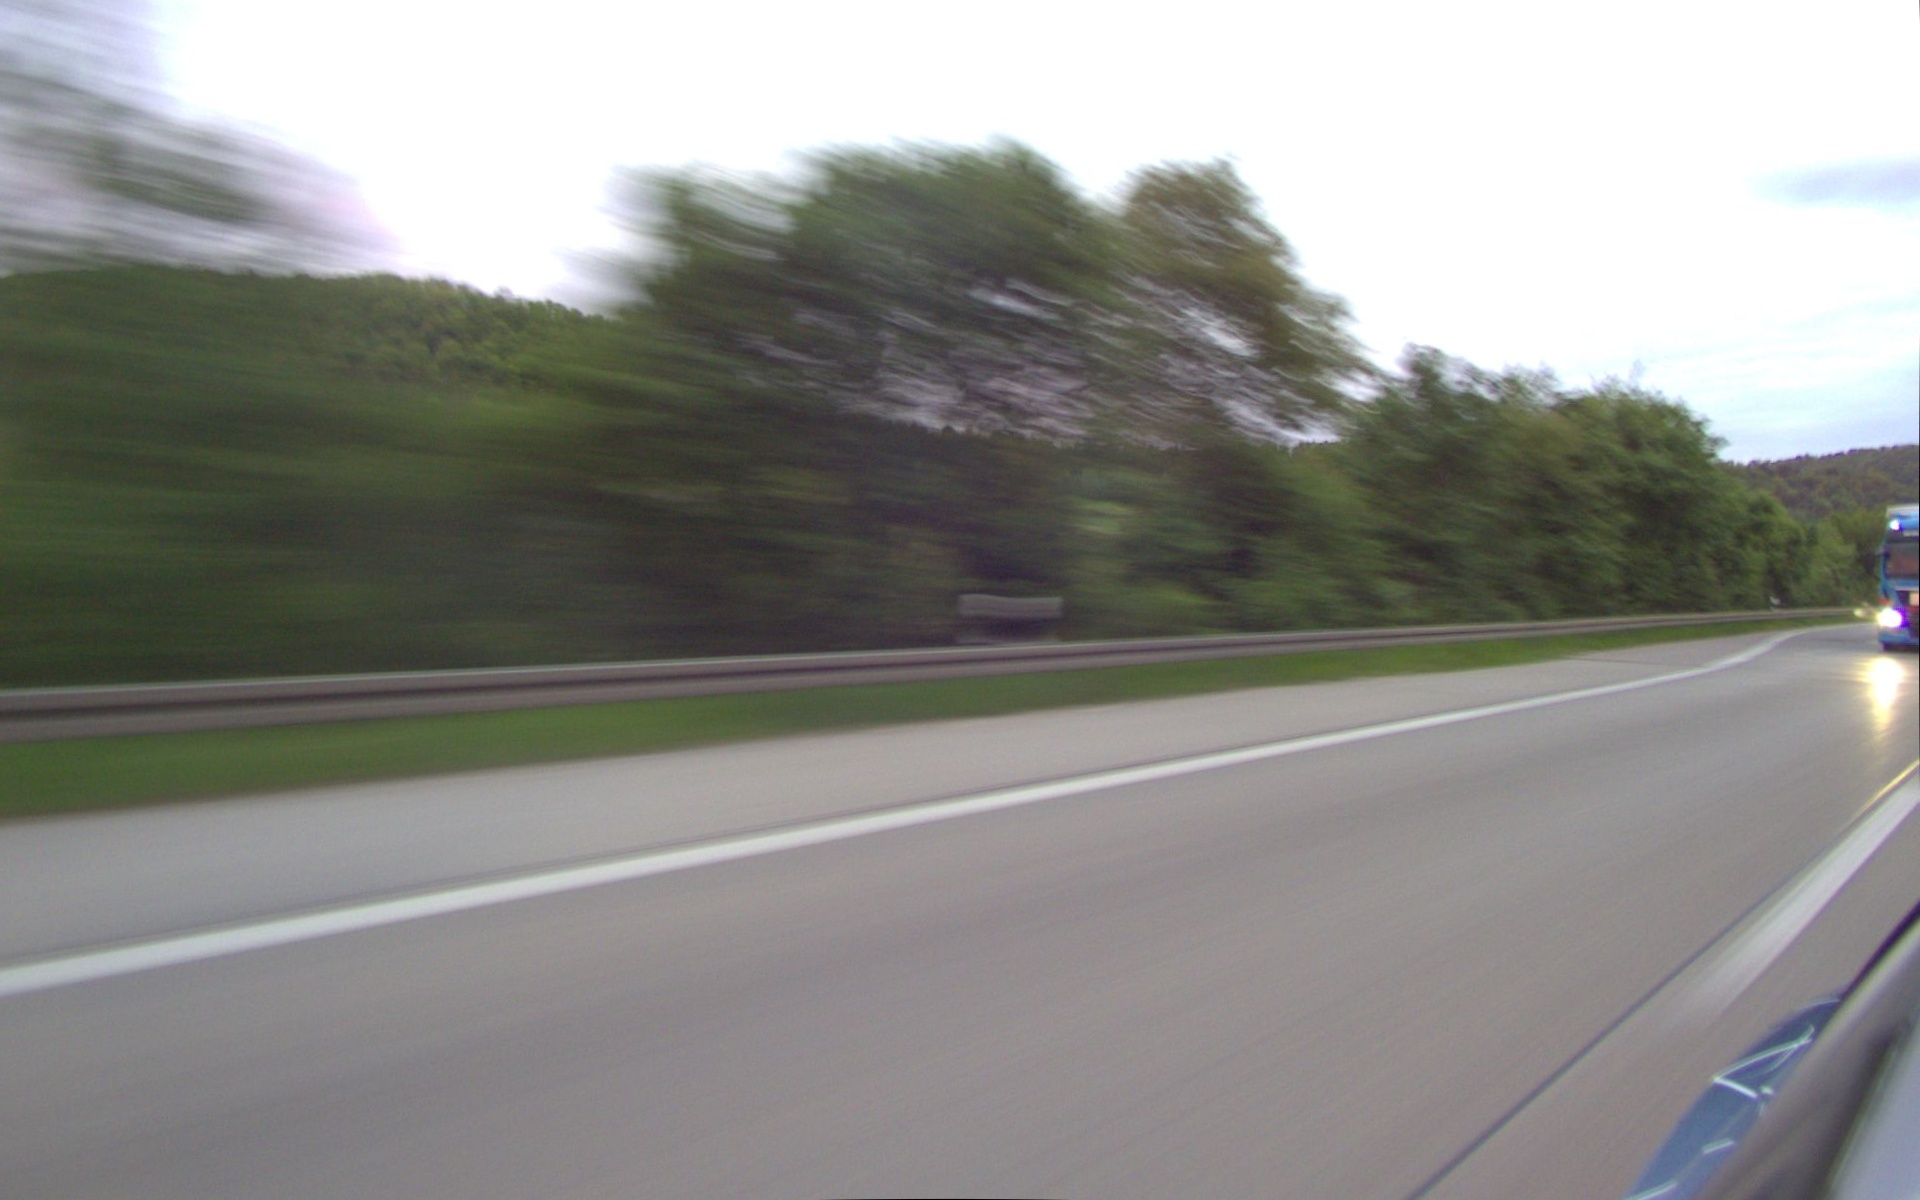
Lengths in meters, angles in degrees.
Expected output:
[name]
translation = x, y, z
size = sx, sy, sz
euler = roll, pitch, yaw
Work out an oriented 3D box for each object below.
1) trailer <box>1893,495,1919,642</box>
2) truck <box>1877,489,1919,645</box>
[trailer]
translation = 32.595, -0.922, 32.205
size = 13.499, 4.137, 2.777
euler = -1, 1, -41
[truck]
translation = 27.478, -0.873, 27.779
size = 5.747, 4.046, 2.741
euler = 0, 1, -41
